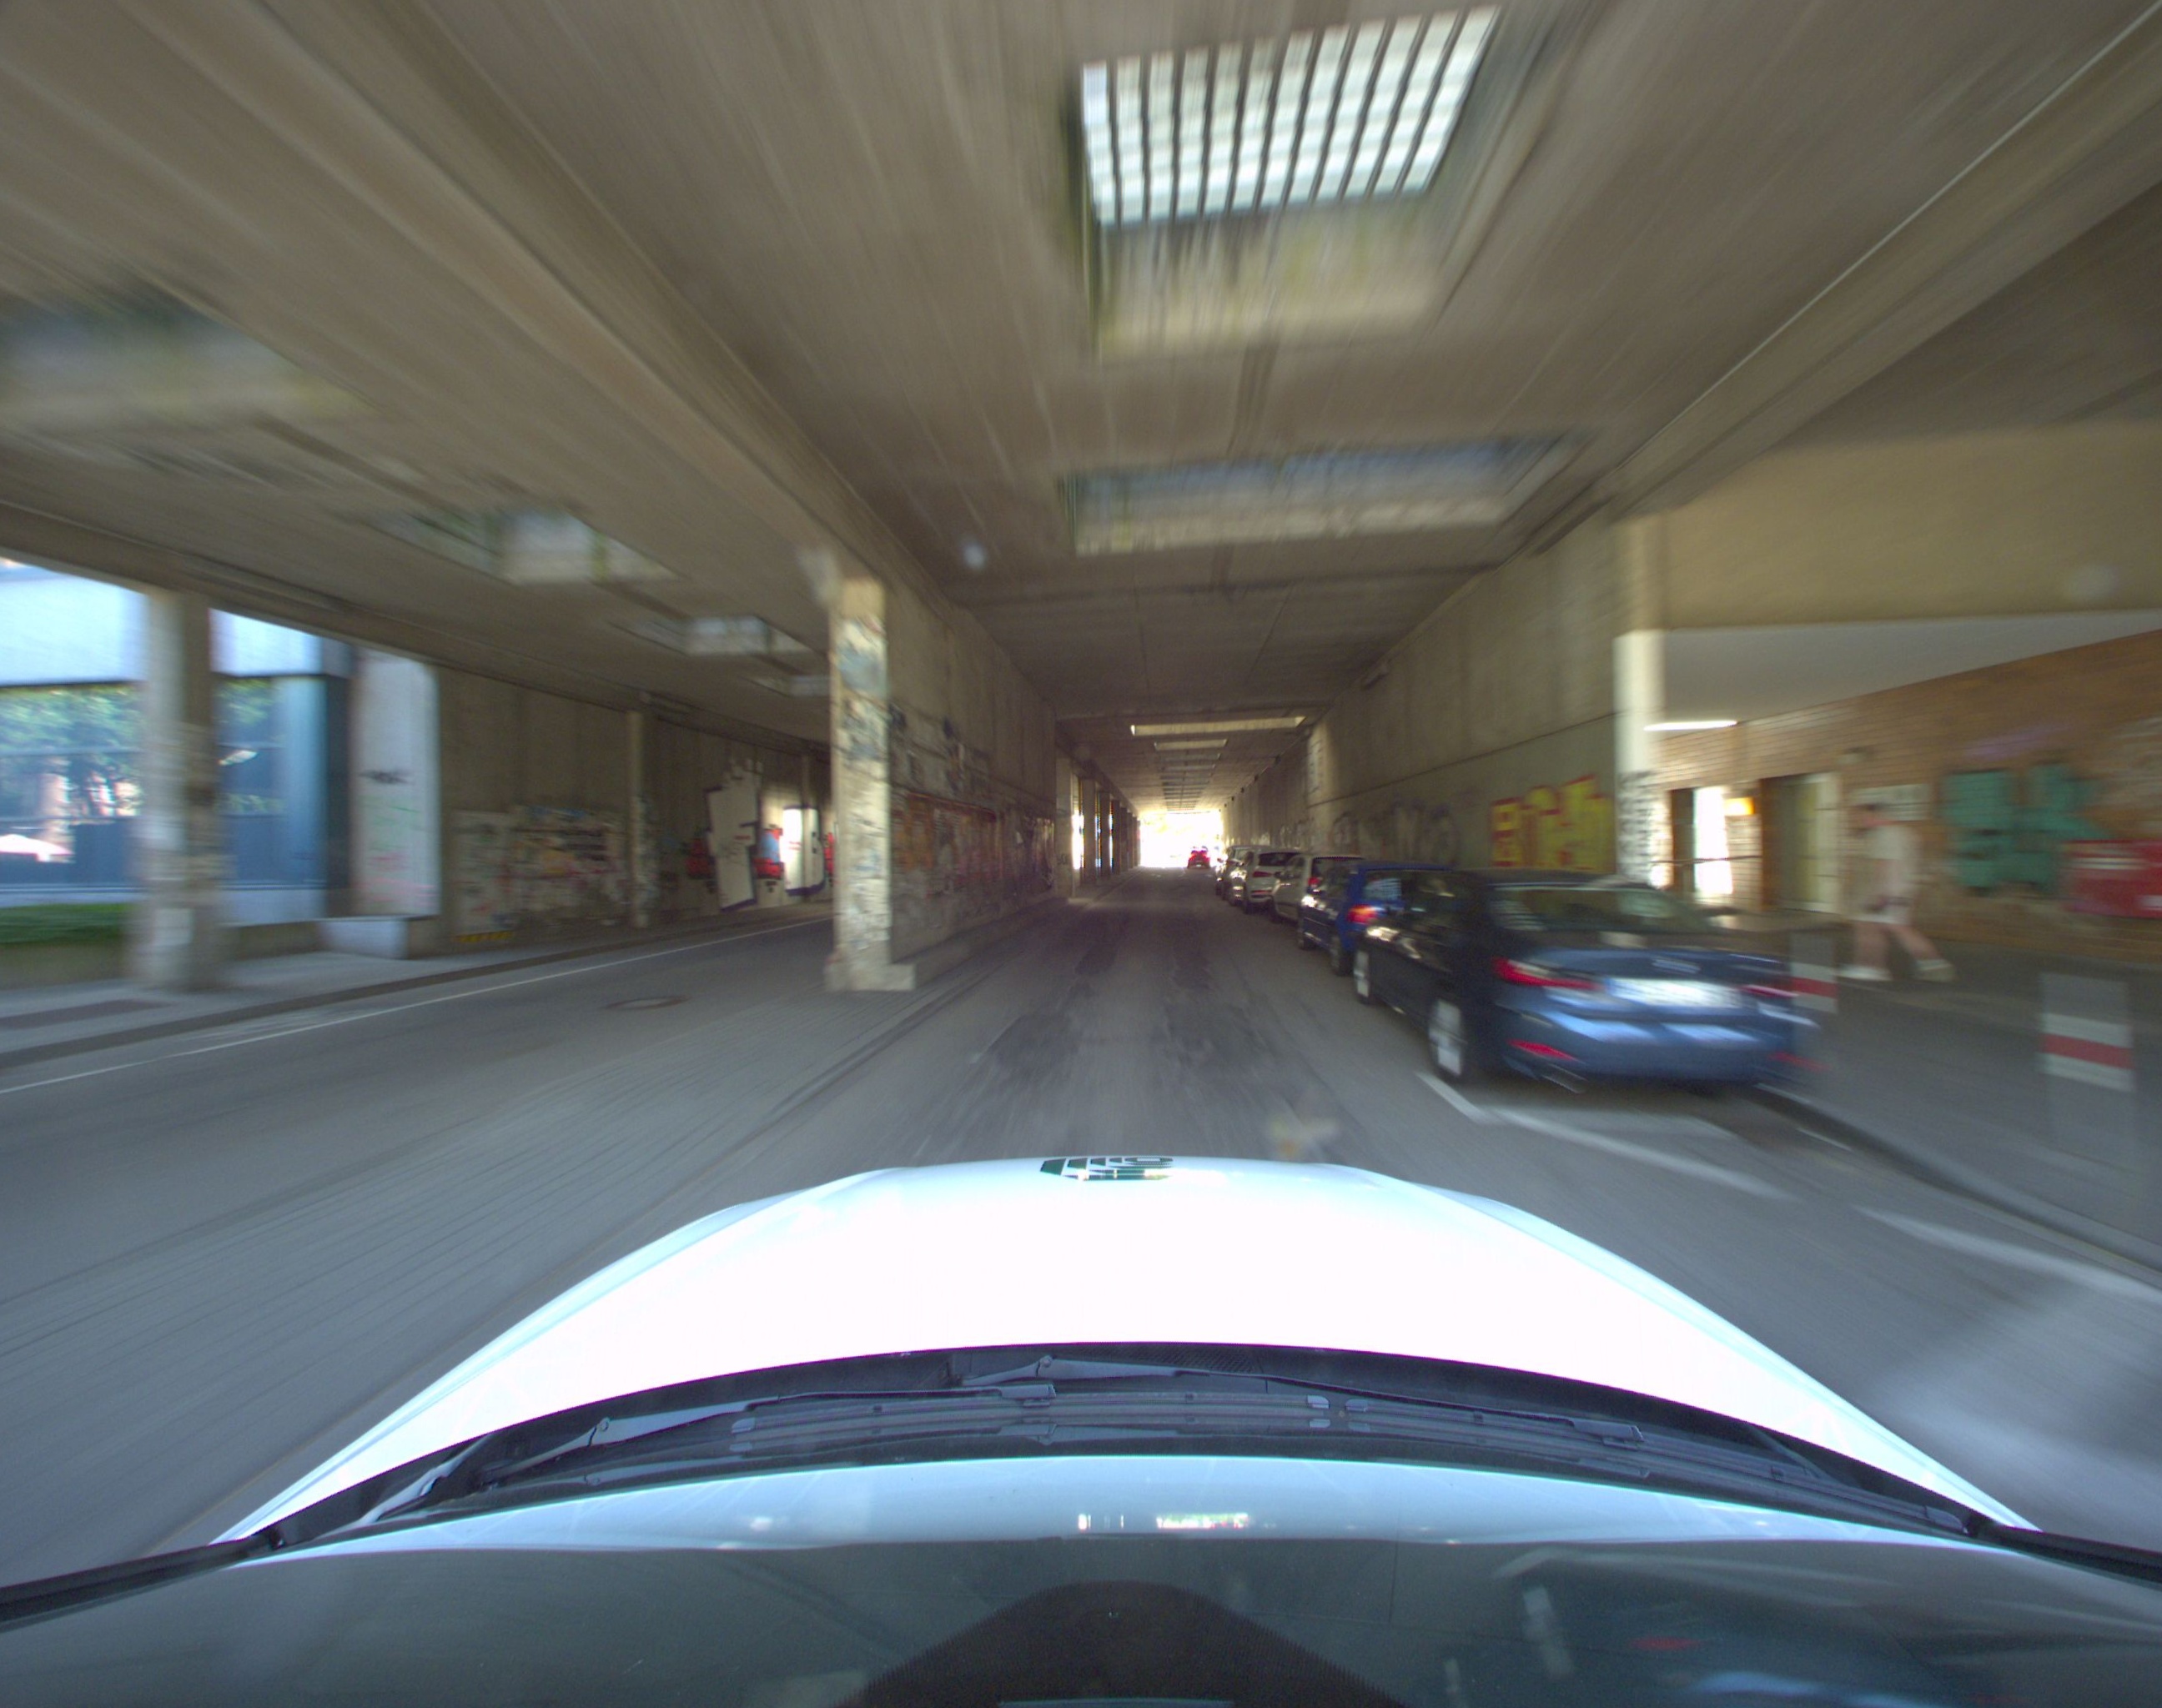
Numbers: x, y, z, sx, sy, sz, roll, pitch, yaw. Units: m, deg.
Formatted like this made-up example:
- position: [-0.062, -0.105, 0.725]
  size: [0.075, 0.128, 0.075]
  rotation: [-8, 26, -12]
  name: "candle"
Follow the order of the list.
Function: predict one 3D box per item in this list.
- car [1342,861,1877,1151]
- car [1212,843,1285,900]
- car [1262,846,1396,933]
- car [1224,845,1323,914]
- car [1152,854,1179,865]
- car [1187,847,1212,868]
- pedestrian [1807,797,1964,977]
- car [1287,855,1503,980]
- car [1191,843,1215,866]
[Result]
- position: [3.462, 0.792, 6.548]
  size: [1.841, 1.433, 4.617]
  rotation: [1, 0, 8]
  name: "car"
- position: [5.267, 0.496, 26.096]
  size: [1.844, 1.666, 4.378]
  rotation: [0, 1, 6]
  name: "car"
- position: [4.715, 0.632, 15.965]
  size: [1.597, 1.487, 3.639]
  rotation: [-1, 0, 2]
  name: "car"
- position: [4.753, 0.588, 20.645]
  size: [1.722, 1.546, 4.159]
  rotation: [-1, 0, 3]
  name: "car"
- position: [13.186, 0.894, 126.971]
  size: [3.962, 1.574, 1.644]
  rotation: [-1, 0, 10]
  name: "car"
- position: [9.252, 0.255, 63.889]
  size: [1.816, 1.501, 4.219]
  rotation: [-1, 0, 7]
  name: "car"
- position: [7.914, 0.303, 8.058]
  size: [0.790, 1.699, 0.759]
  rotation: [-1, 2, 5]
  name: "pedestrian"
- position: [4.084, 0.739, 11.319]
  size: [1.753, 1.411, 4.069]
  rotation: [-1, 0, 5]
  name: "car"
- position: [10.476, 0.030, 69.965]
  size: [1.806, 1.882, 4.594]
  rotation: [-2, 0, 6]
  name: "car"
